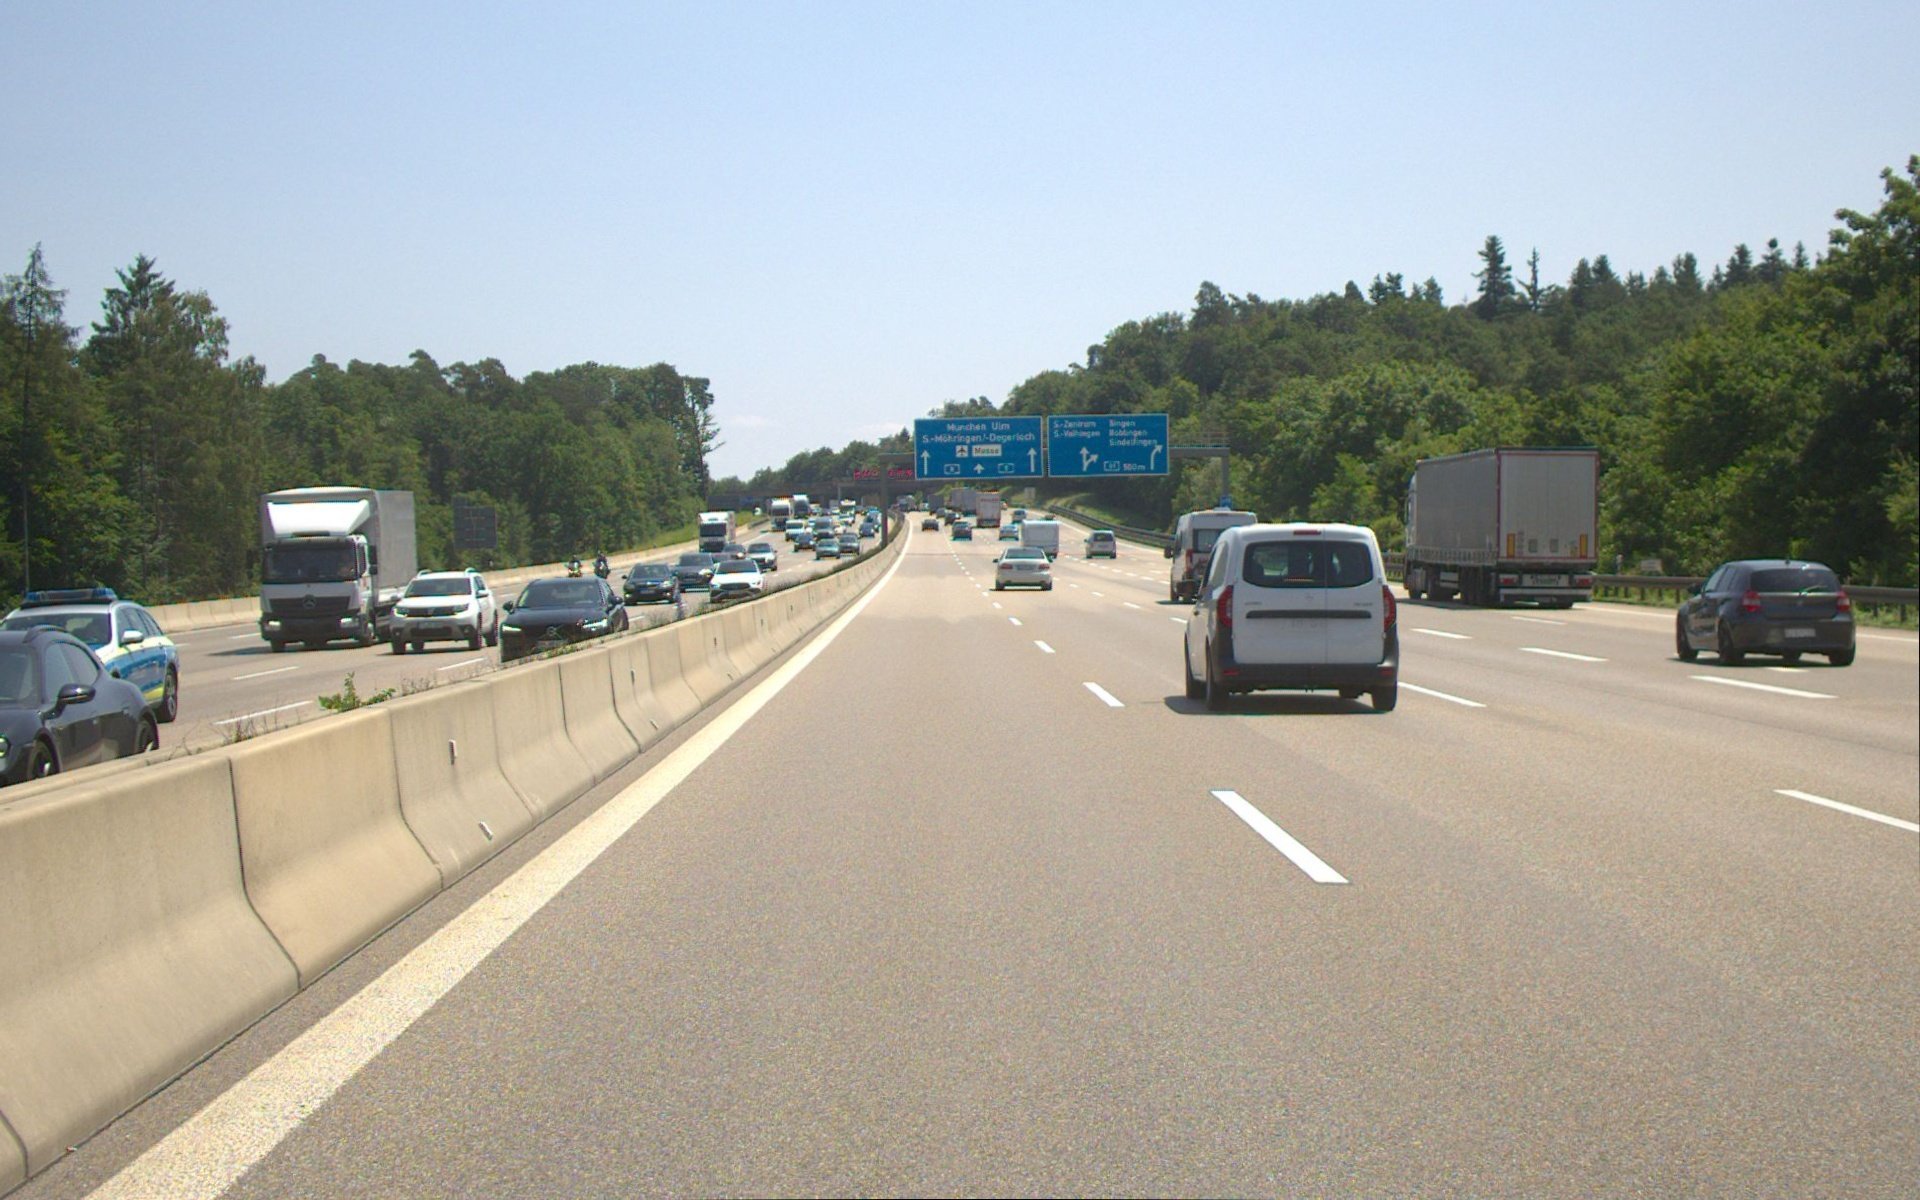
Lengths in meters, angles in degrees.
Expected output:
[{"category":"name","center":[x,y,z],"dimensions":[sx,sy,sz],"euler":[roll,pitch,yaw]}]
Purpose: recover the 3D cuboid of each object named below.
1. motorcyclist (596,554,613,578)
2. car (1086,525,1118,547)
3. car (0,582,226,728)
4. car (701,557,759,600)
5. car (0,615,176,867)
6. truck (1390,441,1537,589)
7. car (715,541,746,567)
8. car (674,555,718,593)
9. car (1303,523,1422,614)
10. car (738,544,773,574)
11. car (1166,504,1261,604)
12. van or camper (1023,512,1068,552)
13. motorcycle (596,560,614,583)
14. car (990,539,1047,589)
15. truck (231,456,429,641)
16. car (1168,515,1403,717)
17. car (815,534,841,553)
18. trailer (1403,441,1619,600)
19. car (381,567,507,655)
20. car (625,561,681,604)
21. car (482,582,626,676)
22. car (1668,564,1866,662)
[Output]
[{"category":"motorcyclist","center":[-19.521,-1.876,188.880],"dimensions":[0.760,1.297,1.078],"euler":[-2,2,0]},{"category":"car","center":[9.172,-4.100,221.609],"dimensions":[1.835,1.333,3.643],"euler":[-2,1,-1]},{"category":"car","center":[-10.357,0.617,41.372],"dimensions":[1.913,1.507,5.232],"euler":[-3,1,-1]},{"category":"car","center":[-7.874,-0.758,117.929],"dimensions":[1.824,1.390,4.465],"euler":[-2,1,-2]},{"category":"car","center":[-6.628,0.866,22.610],"dimensions":[1.913,1.459,4.588],"euler":[-1,0,-1]},{"category":"truck","center":[14.413,-2.454,98.826],"dimensions":[3.254,4.092,5.988],"euler":[0,2,-1]},{"category":"car","center":[-16.238,-3.270,243.670],"dimensions":[1.970,1.718,4.509],"euler":[2,1,-2]},{"category":"car","center":[-11.174,-1.127,145.790],"dimensions":[1.572,1.506,4.030],"euler":[-2,1,-1]},{"category":"car","center":[7.071,-0.547,60.619],"dimensions":[1.503,1.495,3.650],"euler":[-2,0,-2]},{"category":"car","center":[-12.198,-2.458,205.227],"dimensions":[1.970,1.718,4.509],"euler":[1,1,-2]},{"category":"car","center":[6.932,-1.304,94.478],"dimensions":[2.143,2.643,5.710],"euler":[0,2,0]},{"category":"van or camper","center":[5.531,-4.414,223.847],"dimensions":[2.645,2.530,6.502],"euler":[-2,1,0]},{"category":"motorcycle","center":[-19.475,-1.551,188.779],"dimensions":[0.738,1.210,2.350],"euler":[-2,1,0]},{"category":"car","center":[1.968,-1.221,117.289],"dimensions":[1.843,1.623,4.553],"euler":[-2,1,0]},{"category":"truck","center":[-14.606,-1.190,80.455],"dimensions":[2.858,3.999,9.468],"euler":[-1,1,0]},{"category":"car","center":[3.159,0.120,34.209],"dimensions":[1.860,1.819,4.612],"euler":[-2,1,0]},{"category":"car","center":[-9.560,-4.074,249.179],"dimensions":[1.752,1.372,4.491],"euler":[0,1,0]},{"category":"trailer","center":[14.545,-2.170,92.091],"dimensions":[3.287,3.917,13.892],"euler":[0,2,-1]},{"category":"car","center":[-10.719,0.199,71.744],"dimensions":[1.913,1.655,4.689],"euler":[-2,1,-1]},{"category":"car","center":[-10.799,-0.634,121.128],"dimensions":[1.702,1.422,4.614],"euler":[-2,1,-3]},{"category":"car","center":[-6.746,0.461,57.526],"dimensions":[1.913,1.459,4.364],"euler":[-1,0,-1]},{"category":"car","center":[10.956,0.170,46.919],"dimensions":[1.670,1.269,4.290],"euler":[0,0,0]}]
